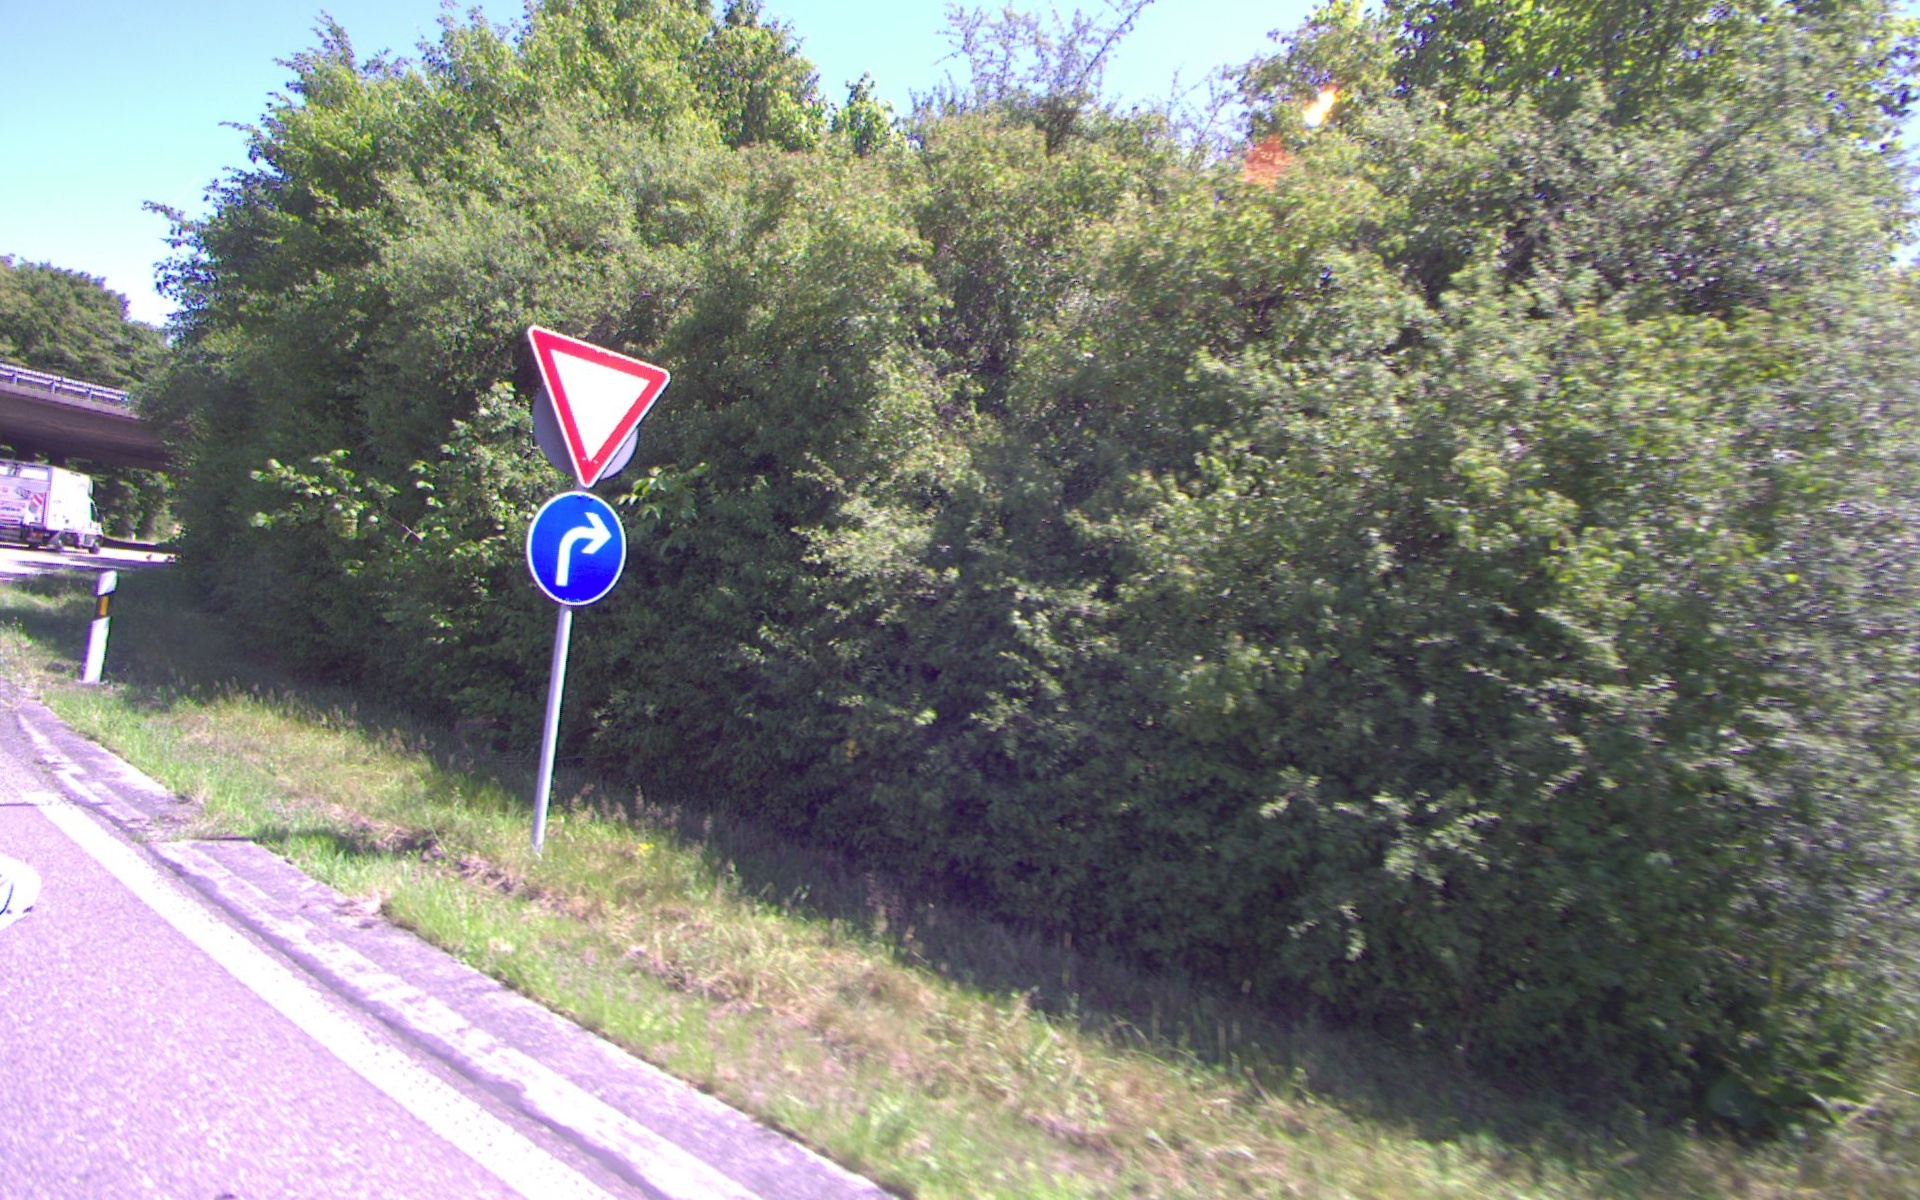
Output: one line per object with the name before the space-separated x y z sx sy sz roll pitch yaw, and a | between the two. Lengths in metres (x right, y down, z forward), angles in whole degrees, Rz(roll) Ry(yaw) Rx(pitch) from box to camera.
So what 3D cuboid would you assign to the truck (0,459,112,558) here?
truck | -33.162 -3.231 36.239 2.219 3.020 5.862 7 -1 -24
